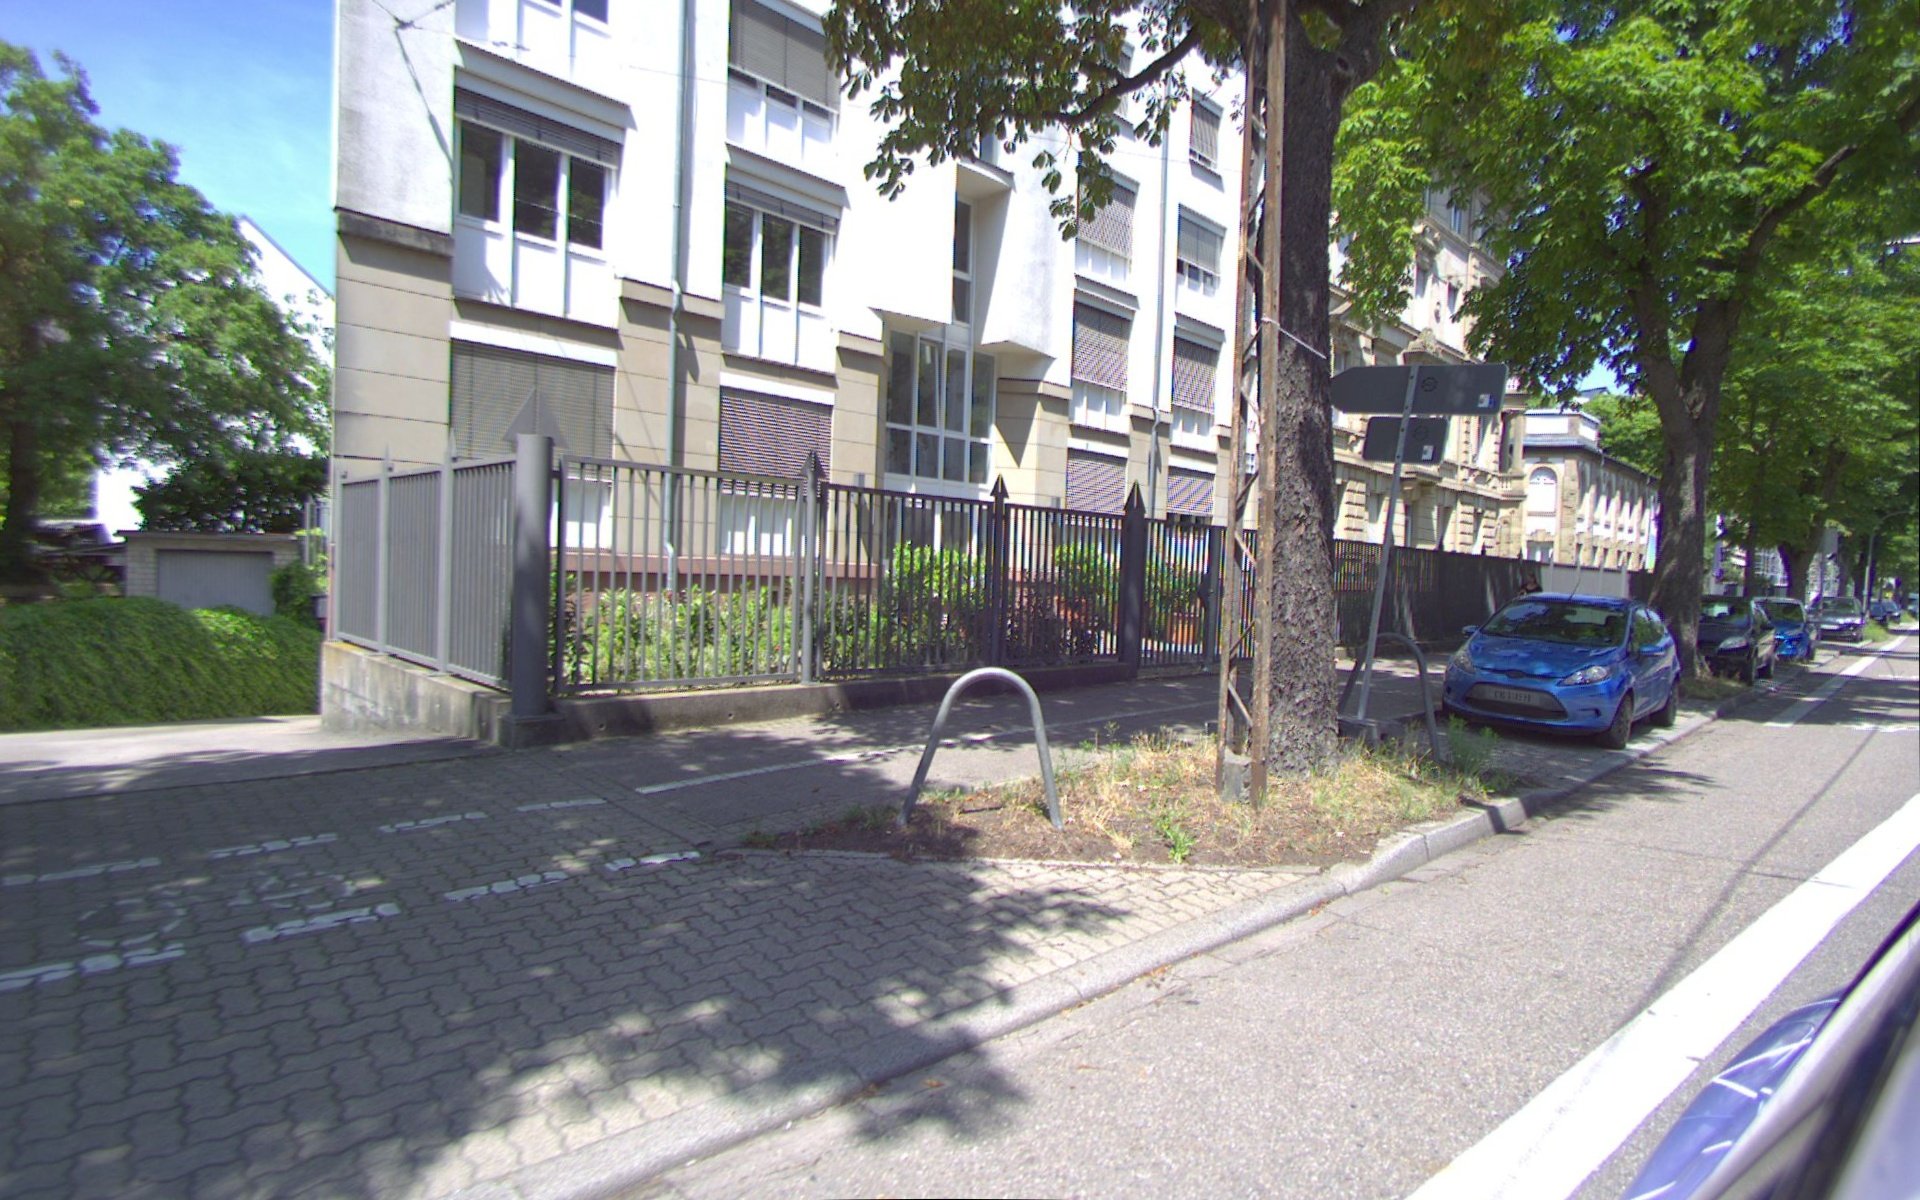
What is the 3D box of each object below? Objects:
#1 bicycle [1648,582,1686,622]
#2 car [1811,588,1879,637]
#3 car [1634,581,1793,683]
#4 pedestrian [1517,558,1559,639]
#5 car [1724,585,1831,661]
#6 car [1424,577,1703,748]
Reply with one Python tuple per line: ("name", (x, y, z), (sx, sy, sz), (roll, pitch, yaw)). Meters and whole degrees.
("bicycle", (23.118, 0.041, 33.071), (0.687, 1.239, 2.085), (2, 2, 44))
("car", (32.655, 0.443, 37.307), (1.644, 1.616, 4.049), (5, 3, 44))
("car", (13.492, 0.476, 18.039), (1.679, 1.514, 3.856), (5, 5, 45))
("pedestrian", (12.504, -0.048, 21.884), (0.546, 1.713, 0.743), (4, 3, 44))
("car", (19.447, 0.473, 24.031), (1.611, 1.514, 3.527), (5, 5, 44))
("car", (6.834, 0.535, 11.287), (3.935, 1.479, 1.685), (-1, 5, -45))
